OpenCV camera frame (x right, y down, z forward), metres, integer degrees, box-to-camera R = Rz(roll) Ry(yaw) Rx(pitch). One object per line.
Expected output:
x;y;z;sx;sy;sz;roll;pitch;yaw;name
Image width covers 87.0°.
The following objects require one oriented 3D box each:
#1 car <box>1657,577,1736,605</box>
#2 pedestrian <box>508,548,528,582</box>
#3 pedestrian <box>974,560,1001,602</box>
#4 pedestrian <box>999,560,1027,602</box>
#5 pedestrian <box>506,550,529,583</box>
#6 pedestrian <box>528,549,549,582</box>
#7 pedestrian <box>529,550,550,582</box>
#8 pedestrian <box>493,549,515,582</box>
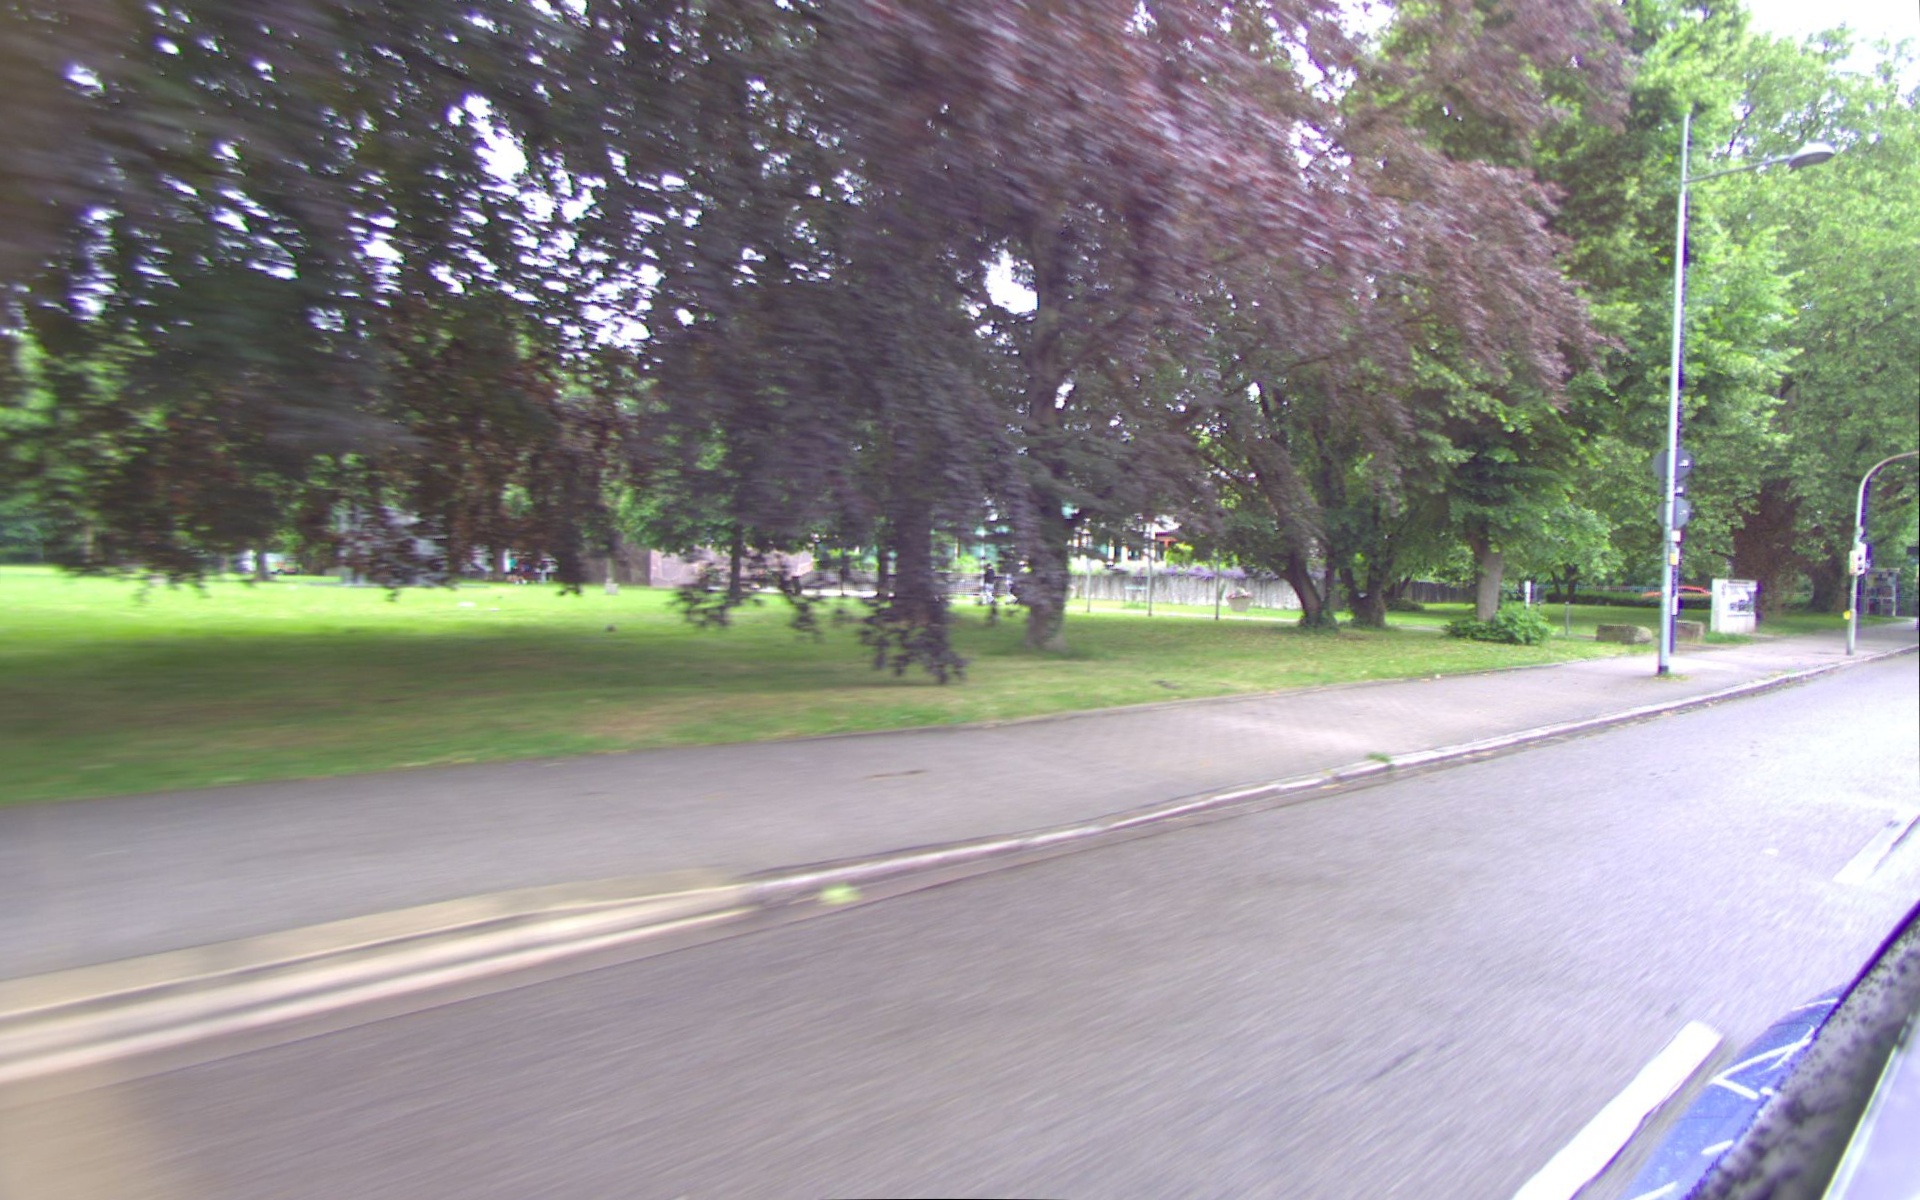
49.784;-0.616;68.477;1.966;1.737;3.993;0;2;-43;car
-24.085;-1.902;55.159;0.838;1.785;0.760;-2;-1;44;pedestrian
1.184;-0.810;43.172;0.838;1.785;0.760;-2;-1;44;pedestrian
2.284;-0.820;43.743;0.838;1.785;0.865;-2;-1;44;pedestrian
-24.789;-1.881;56.676;0.829;1.785;0.854;-1;-1;16;pedestrian
-23.445;-1.909;56.306;0.838;1.785;0.844;-2;-1;44;pedestrian
-23.808;-1.898;57.267;0.767;1.785;0.829;-2;-1;37;pedestrian
-25.109;-1.878;55.728;0.825;1.785;0.858;-1;-1;1;pedestrian
